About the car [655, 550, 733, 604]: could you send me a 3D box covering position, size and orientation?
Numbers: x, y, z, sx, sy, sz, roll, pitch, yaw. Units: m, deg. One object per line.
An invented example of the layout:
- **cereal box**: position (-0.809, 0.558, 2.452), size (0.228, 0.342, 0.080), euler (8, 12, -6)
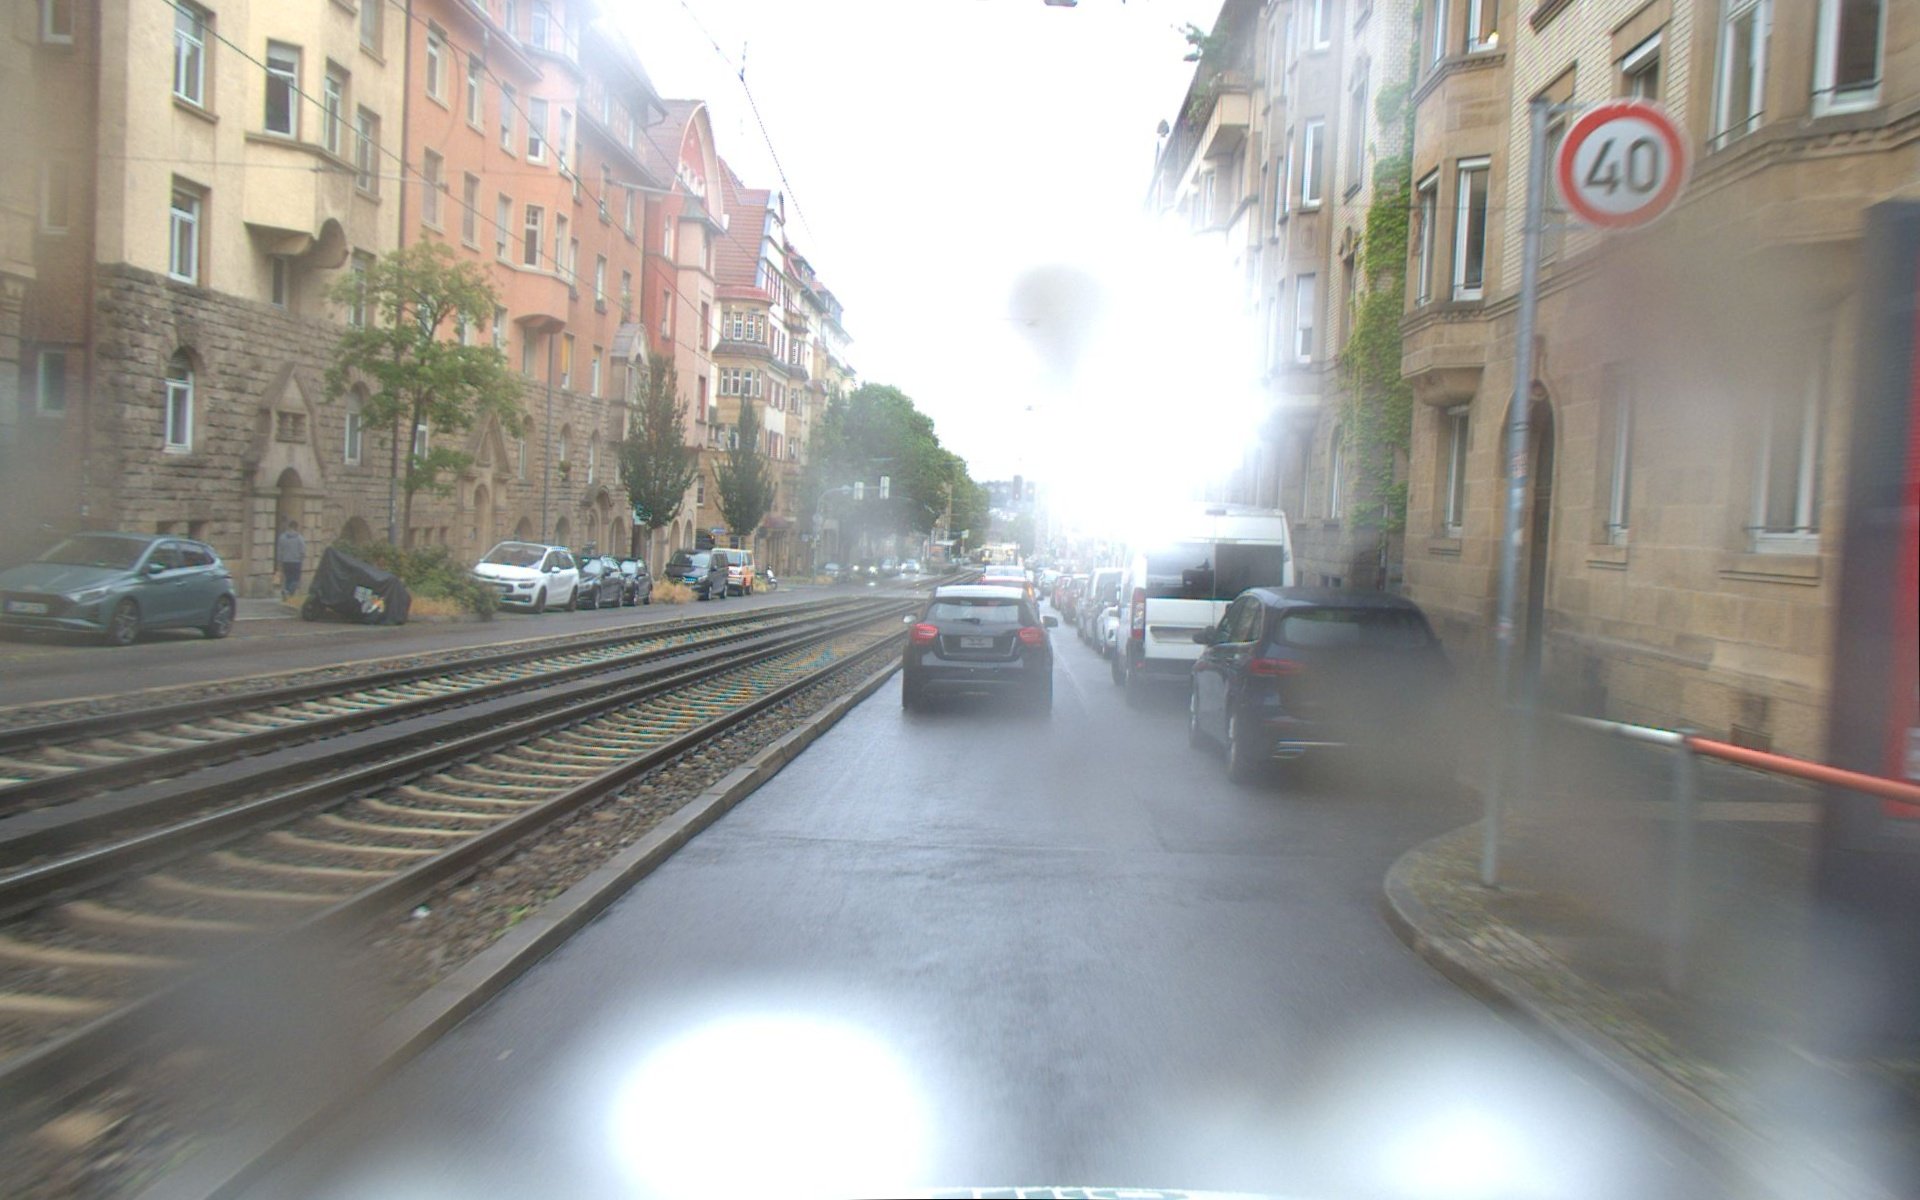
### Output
- **car**: position (-10.303, -0.880, 64.408), size (1.952, 1.934, 4.701), euler (3, 1, 3)

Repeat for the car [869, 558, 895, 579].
- **car**: position (-7.274, -2.943, 154.372), size (1.952, 1.825, 4.002), euler (3, 1, 2)

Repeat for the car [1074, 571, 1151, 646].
- **car**: position (3.966, 0.165, 43.568), size (1.738, 1.807, 4.362), euler (2, 1, 2)

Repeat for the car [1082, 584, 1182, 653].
- **car**: position (3.974, 0.387, 38.717), size (1.952, 1.466, 4.001), euler (2, 1, 1)

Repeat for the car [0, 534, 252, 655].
- **car**: position (-11.527, -0.106, 22.879), size (1.529, 1.463, 4.147), euler (3, 1, 2)

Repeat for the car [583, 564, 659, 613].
- **car**: position (-10.737, -0.394, 52.562), size (1.609, 1.422, 3.884), euler (3, 1, -1)

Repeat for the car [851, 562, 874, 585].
- **car**: position (-7.909, -2.166, 134.309), size (1.754, 1.720, 3.998), euler (3, 1, -4)

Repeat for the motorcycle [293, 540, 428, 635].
- **motorcycle**: position (-11.282, -0.239, 31.212), size (2.222, 1.671, 1.288), euler (2, 1, -15)

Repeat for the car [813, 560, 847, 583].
- **car**: position (-8.679, -1.902, 110.863), size (1.735, 1.489, 4.001), euler (2, 1, 2)

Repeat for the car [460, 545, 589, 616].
- **car**: position (-10.897, -0.484, 41.672), size (1.747, 1.617, 4.353), euler (3, 1, 4)

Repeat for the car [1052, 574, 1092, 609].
- **car**: position (5.058, -0.397, 75.070), size (1.569, 1.443, 3.149), euler (3, 1, 1)

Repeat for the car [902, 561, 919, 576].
- **car**: position (-5.479, -3.448, 182.875), size (1.759, 1.575, 3.999), euler (2, 1, -2)

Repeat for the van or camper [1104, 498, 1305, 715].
- **van or camper**: position (3.194, 0.049, 22.864), size (2.021, 2.512, 6.121), euler (2, 1, 2)

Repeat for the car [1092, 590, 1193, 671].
- **car**: position (3.661, 0.573, 33.725), size (1.641, 1.435, 4.001), euler (3, 1, 1)

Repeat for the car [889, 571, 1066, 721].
- **car**: position (0.224, 0.495, 20.163), size (1.906, 1.592, 3.643), euler (2, 0, 1)

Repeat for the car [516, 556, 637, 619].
- **car**: position (-10.878, -0.380, 47.264), size (1.952, 1.535, 4.977), euler (5, 1, 3)

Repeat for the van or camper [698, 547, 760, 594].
- **van or camper**: position (-10.018, -1.294, 72.041), size (1.953, 1.934, 4.699), euler (2, 1, 0)

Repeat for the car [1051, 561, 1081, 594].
- **car**: position (7.150, -1.505, 112.004), size (1.859, 2.063, 4.177), euler (2, 0, 2)

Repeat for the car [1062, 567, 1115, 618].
- **car**: position (4.475, -0.290, 57.924), size (1.675, 1.656, 4.002), euler (3, 1, 4)

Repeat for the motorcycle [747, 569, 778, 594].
- **motorcycle**: position (-9.845, -0.934, 82.623), size (1.411, 1.154, 0.618), euler (4, 1, 32)

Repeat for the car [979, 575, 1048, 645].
- **car**: position (1.317, 0.210, 39.988), size (1.504, 1.536, 4.001), euler (3, 0, 2)

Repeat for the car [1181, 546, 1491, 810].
- **car**: position (3.052, 0.537, 14.375), size (1.732, 1.839, 4.484), euler (3, 1, 2)

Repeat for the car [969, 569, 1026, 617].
- **car**: position (1.391, -0.288, 62.654), size (1.883, 1.684, 3.999), euler (3, 1, -2)

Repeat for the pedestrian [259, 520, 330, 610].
- **pedestrian**: position (-13.729, -0.722, 34.140), size (0.986, 1.783, 0.925), euler (4, 1, 2)

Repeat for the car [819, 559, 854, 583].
- **car**: position (-8.640, -2.053, 116.188), size (1.952, 1.543, 4.002), euler (3, 1, 2)

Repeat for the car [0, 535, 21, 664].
- **car**: position (-11.765, -0.019, 16.926), size (1.632, 1.450, 4.264), euler (3, 1, 3)
